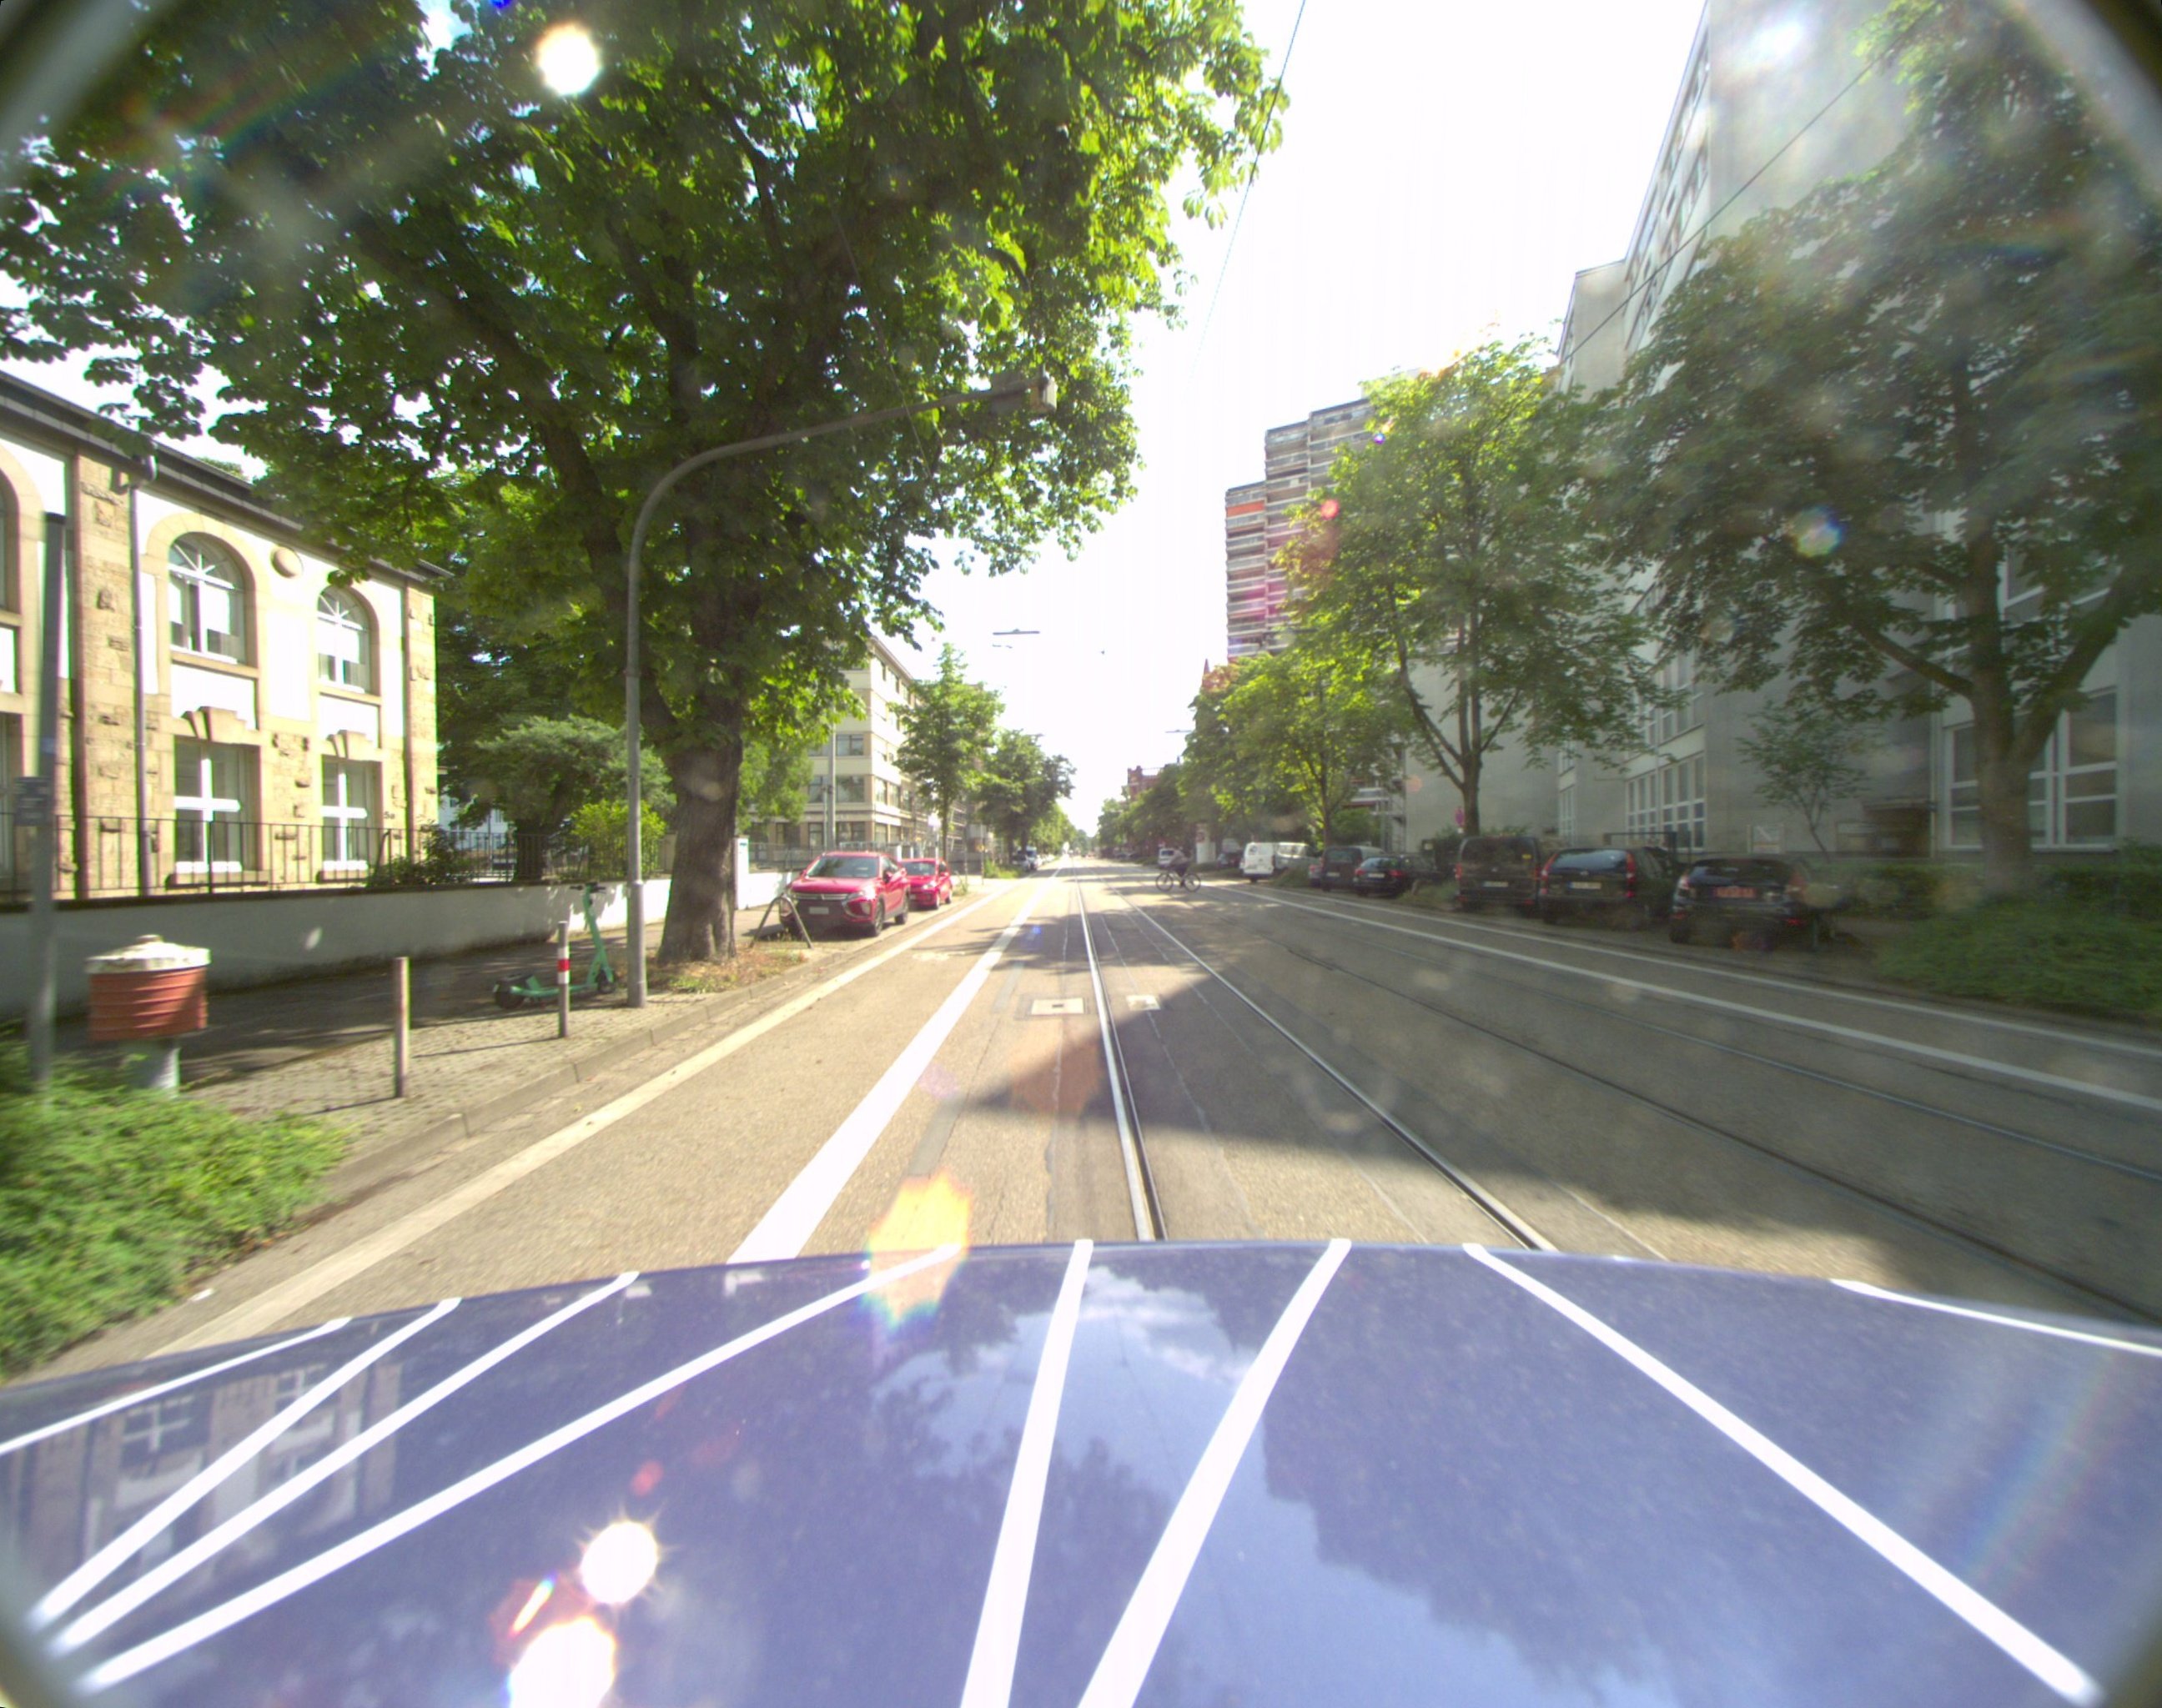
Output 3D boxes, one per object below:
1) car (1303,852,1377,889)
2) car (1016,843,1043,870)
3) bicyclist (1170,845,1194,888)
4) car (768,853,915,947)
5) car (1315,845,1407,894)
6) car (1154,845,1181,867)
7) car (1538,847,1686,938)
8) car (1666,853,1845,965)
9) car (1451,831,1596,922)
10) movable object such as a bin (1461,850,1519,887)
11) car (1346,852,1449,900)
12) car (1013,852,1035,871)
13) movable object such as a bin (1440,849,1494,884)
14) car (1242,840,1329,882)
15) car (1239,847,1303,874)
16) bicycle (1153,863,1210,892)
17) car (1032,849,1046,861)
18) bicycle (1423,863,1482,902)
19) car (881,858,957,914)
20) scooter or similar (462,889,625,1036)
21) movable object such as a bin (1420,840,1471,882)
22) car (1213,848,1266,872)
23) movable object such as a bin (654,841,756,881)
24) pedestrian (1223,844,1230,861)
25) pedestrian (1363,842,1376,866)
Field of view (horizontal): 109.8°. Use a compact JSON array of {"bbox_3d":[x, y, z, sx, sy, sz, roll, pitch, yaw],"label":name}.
[{"bbox_3d":[10.942,0.664,31.948,1.717,1.409,4.009,2,1,38],"label":"car"},{"bbox_3d":[-5.295,0.187,78.839,2.337,2.545,5.388,-4,1,-2],"label":"car"},{"bbox_3d":[3.805,0.452,28.532,0.740,1.568,0.644,1,2,24],"label":"bicyclist"},{"bbox_3d":[-4.794,0.837,15.875,1.881,1.666,4.280,1,0,-3],"label":"car"},{"bbox_3d":[10.490,0.550,28.342,3.723,1.683,1.755,1,1,-44],"label":"car"},{"bbox_3d":[8.190,0.152,72.231,1.892,1.841,4.235,-4,1,-2],"label":"car"},{"bbox_3d":[10.819,0.698,15.375,4.009,1.583,1.735,1,1,-45],"label":"car"},{"bbox_3d":[10.915,0.768,12.207,4.009,1.475,1.735,1,1,-43],"label":"car"},{"bbox_3d":[11.084,0.503,18.834,1.911,1.943,5.180,2,1,43],"label":"car"},{"bbox_3d":[16.329,0.561,30.392,1.391,1.356,1.538,2,1,-5],"label":"movable object such as a bin"},{"bbox_3d":[10.450,0.695,24.955,1.755,1.409,4.009,2,1,43],"label":"car"},{"bbox_3d":[-5.105,0.647,68.482,1.750,1.597,4.235,-4,1,-2],"label":"car"},{"bbox_3d":[16.245,0.515,32.047,1.391,1.356,1.538,2,1,-5],"label":"movable object such as a bin"},{"bbox_3d":[10.287,0.296,37.963,4.695,1.986,1.963,-1,1,-42],"label":"car"},{"bbox_3d":[11.339,0.361,45.180,1.817,1.492,4.202,0,1,43],"label":"car"},{"bbox_3d":[3.768,0.858,28.550,1.995,1.034,0.658,0,1,24],"label":"bicycle"},{"bbox_3d":[-5.899,0.096,107.515,1.750,1.597,4.235,-4,1,-2],"label":"car"},{"bbox_3d":[11.295,0.854,23.071,2.004,1.112,0.582,-1,1,-31],"label":"bicycle"},{"bbox_3d":[-4.839,0.910,23.086,1.604,1.420,3.595,2,1,-2],"label":"car"},{"bbox_3d":[-5.123,0.982,7.316,0.341,1.230,1.261,3,1,24],"label":"scooter or similar"},{"bbox_3d":[16.181,0.282,33.791,1.391,1.771,1.538,2,1,-5],"label":"movable object such as a bin"},{"bbox_3d":[10.846,0.386,51.783,1.737,1.514,3.893,-1,1,43],"label":"car"},{"bbox_3d":[-23.955,0.512,48.544,5.446,2.429,1.994,2,-2,-43],"label":"movable object such as a bin"},{"bbox_3d":[15.004,-0.138,78.437,0.523,1.745,0.636,-1,4,23],"label":"pedestrian"},{"bbox_3d":[20.164,-0.005,53.114,0.642,1.615,0.661,-2,2,-9],"label":"pedestrian"}]
